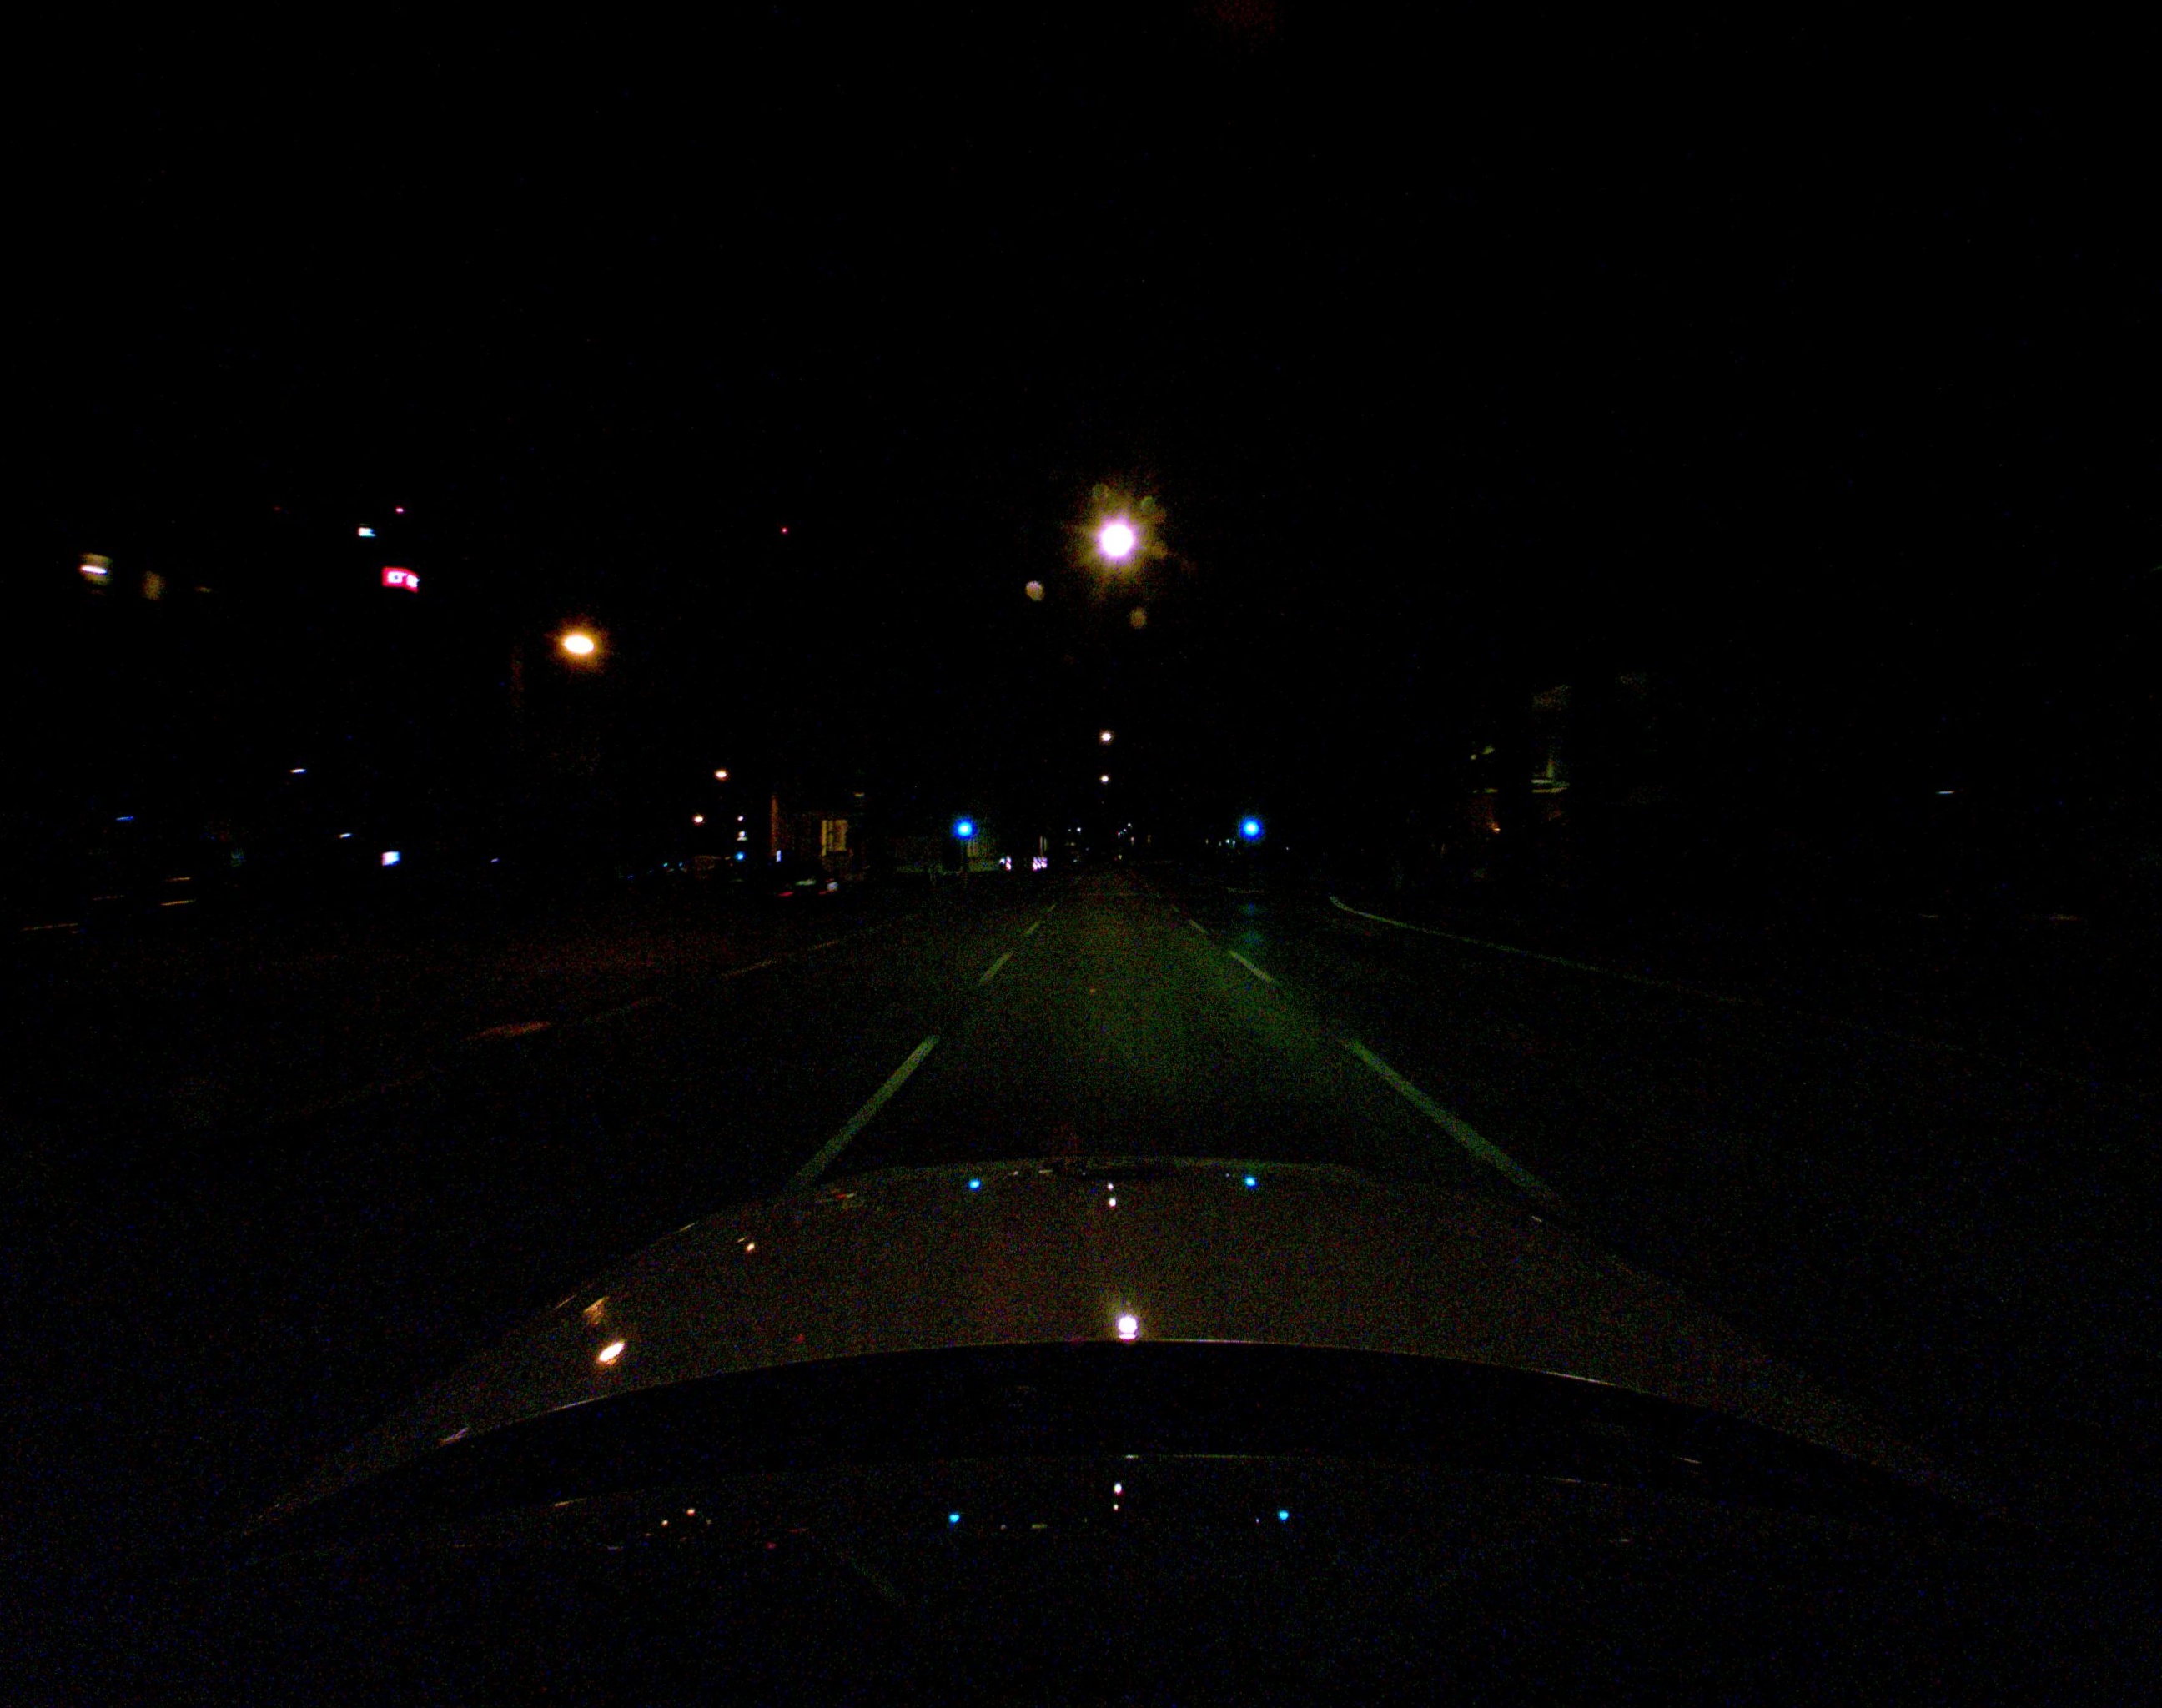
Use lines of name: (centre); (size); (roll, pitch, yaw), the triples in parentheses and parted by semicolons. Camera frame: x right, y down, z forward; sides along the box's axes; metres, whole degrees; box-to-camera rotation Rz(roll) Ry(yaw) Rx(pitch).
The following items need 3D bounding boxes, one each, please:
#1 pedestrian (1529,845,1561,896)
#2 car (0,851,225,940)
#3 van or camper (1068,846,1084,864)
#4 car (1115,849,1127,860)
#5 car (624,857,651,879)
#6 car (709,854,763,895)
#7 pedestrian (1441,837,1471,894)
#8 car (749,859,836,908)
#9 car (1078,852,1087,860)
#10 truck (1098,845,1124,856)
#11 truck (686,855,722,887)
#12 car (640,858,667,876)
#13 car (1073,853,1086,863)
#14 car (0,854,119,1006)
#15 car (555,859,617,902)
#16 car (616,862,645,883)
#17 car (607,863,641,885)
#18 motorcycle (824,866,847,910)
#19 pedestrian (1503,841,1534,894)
pedestrian: (14.024, 0.494, 24.627); (0.570, 1.533, 0.634); (-1, 0, 1)
car: (-21.583, 0.860, 17.499); (4.320, 1.754, 1.958); (1, -2, 3)
van or camper: (-0.748, 0.138, 121.896); (2.150, 2.535, 6.227); (-3, 0, 1)
car: (6.467, 0.094, 132.048); (1.876, 1.603, 4.111); (-2, -1, 3)
car: (-39.597, 1.221, 72.762); (1.804, 1.809, 3.967); (-1, 0, -25)
car: (-15.255, 0.889, 35.896); (1.924, 1.644, 4.075); (2, -1, -27)
pedestrian: (12.159, 0.357, 26.449); (0.619, 1.811, 0.759); (-1, 0, 2)
car: (-9.662, 0.918, 27.051); (1.898, 1.424, 4.684); (-1, 0, -30)
car: (0.353, 0.348, 161.059); (1.671, 1.566, 4.106); (-1, -1, 1)
truck: (7.713, -0.843, 209.765); (6.758, 2.844, 1.999); (0, 0, -2)
truck: (-23.147, 1.028, 49.898); (1.900, 1.807, 4.077); (-1, -1, -27)
car: (-41.583, 1.276, 79.332); (1.905, 1.735, 3.970); (-1, -1, -22)
car: (-0.266, 0.609, 132.746); (1.836, 1.507, 4.733); (-2, 0, -5)
car: (-13.943, 0.863, 8.788); (4.645, 1.629, 2.003); (-1, -1, -1)
car: (-20.590, 1.069, 34.045); (1.847, 1.613, 4.222); (-2, 0, -27)
car: (-34.948, 1.425, 63.231); (1.724, 1.496, 3.554); (-1, 0, -25)
car: (-32.724, 1.417, 58.391); (1.775, 1.460, 3.967); (-1, 0, -25)
motorcycle: (-7.151, 0.967, 23.782); (0.573, 1.179, 2.021); (-1, 0, -16)
pedestrian: (13.825, 0.427, 25.753); (0.619, 1.639, 0.679); (-1, 0, 1)
